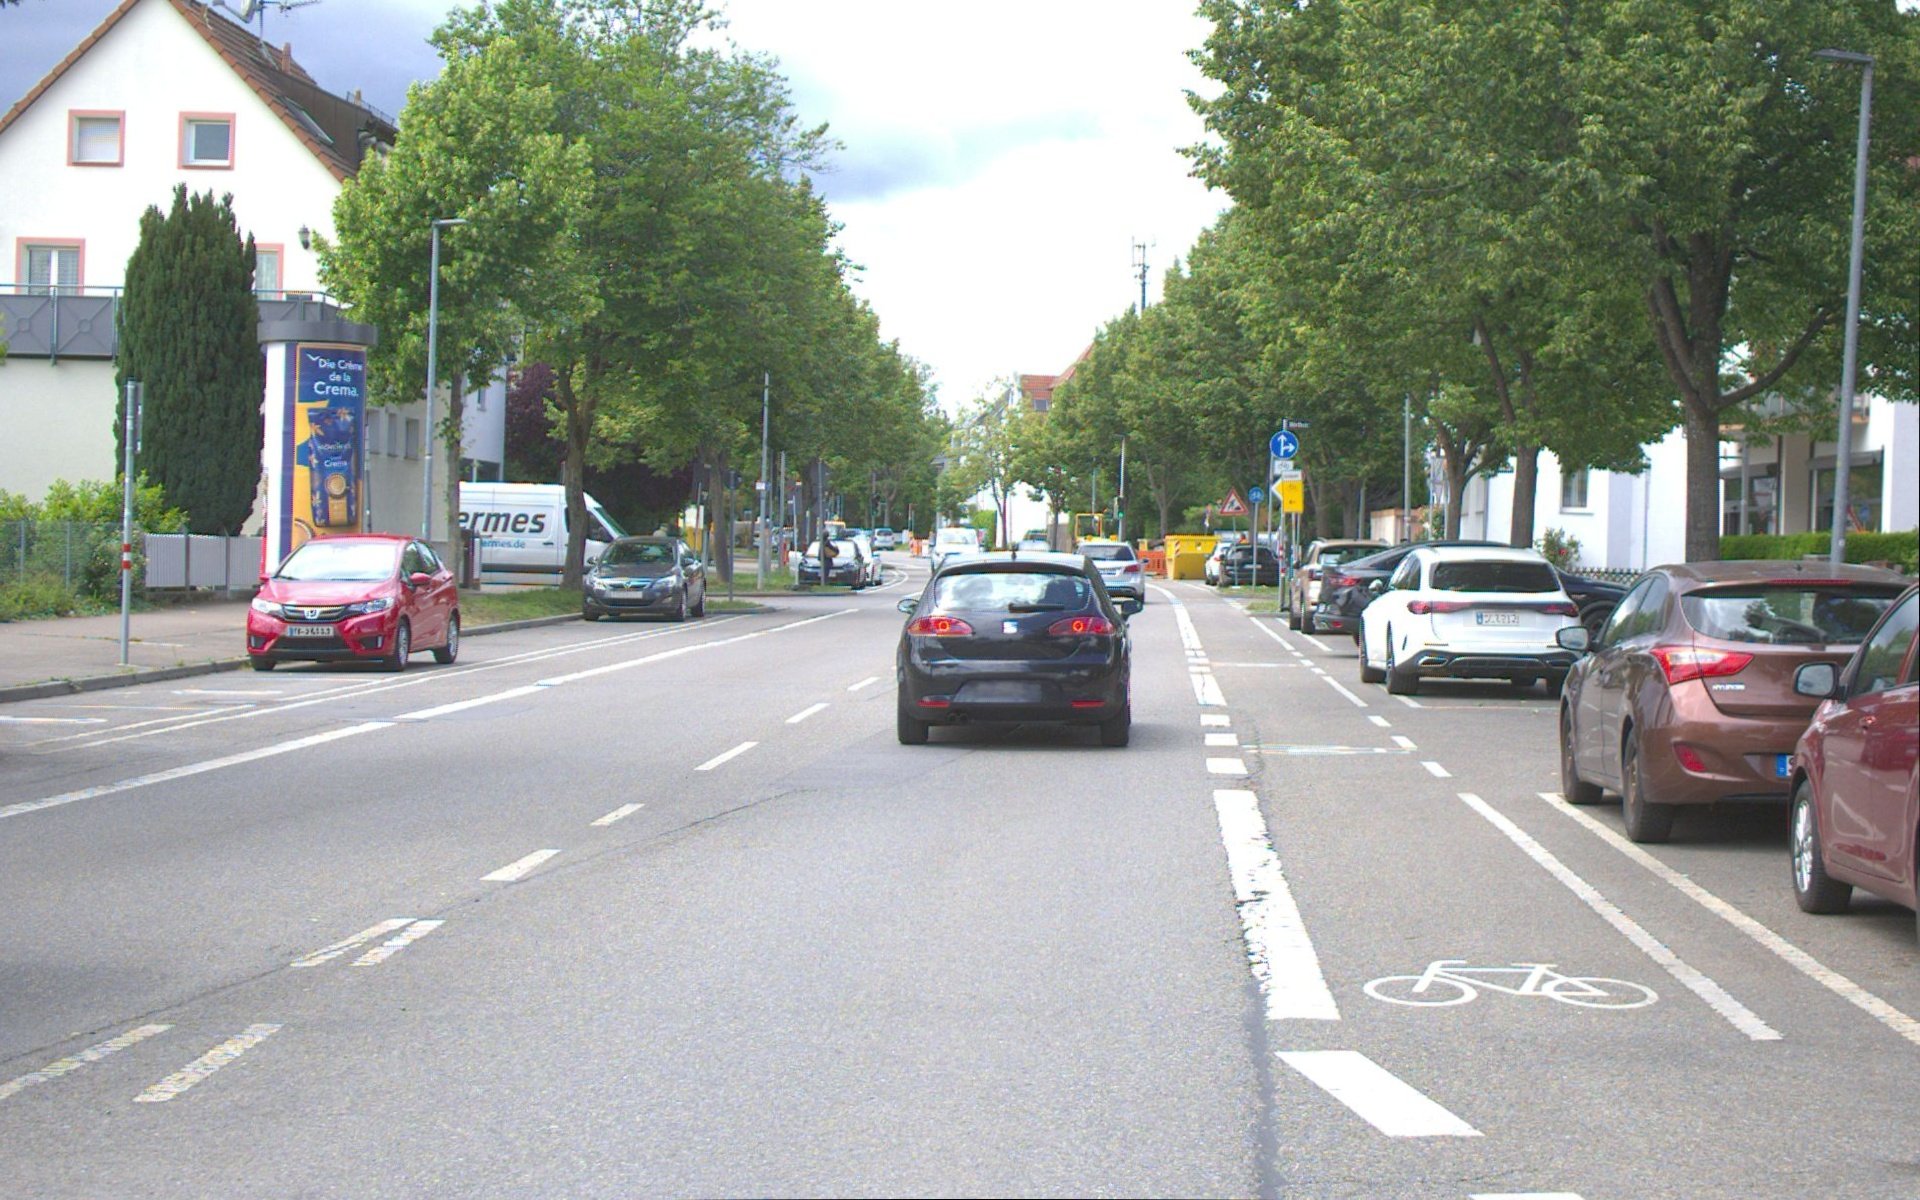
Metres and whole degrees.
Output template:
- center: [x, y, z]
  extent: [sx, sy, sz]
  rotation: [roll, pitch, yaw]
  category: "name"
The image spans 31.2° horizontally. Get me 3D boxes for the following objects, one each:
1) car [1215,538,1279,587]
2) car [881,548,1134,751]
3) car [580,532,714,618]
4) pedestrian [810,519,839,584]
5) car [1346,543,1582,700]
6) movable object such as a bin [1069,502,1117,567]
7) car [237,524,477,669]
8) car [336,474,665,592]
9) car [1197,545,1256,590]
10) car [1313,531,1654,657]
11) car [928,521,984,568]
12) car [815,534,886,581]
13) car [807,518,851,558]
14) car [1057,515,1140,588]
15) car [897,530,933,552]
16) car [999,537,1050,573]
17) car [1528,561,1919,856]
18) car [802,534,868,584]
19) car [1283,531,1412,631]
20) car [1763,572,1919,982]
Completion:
- center: [8.865, -1.184, 106.474]
  extent: [1.705, 1.449, 4.616]
  rotation: [1, 1, 2]
  category: "car"
- center: [0.362, 0.326, 26.673]
  extent: [1.819, 1.433, 3.740]
  rotation: [0, 1, 1]
  category: "car"
- center: [-5.568, -0.477, 61.679]
  extent: [1.731, 1.464, 4.301]
  rotation: [0, 1, 4]
  category: "car"
- center: [-3.604, -1.297, 91.257]
  extent: [0.542, 1.675, 0.750]
  rotation: [3, 2, 11]
  category: "pedestrian"
- center: [5.119, 0.166, 35.456]
  extent: [1.805, 1.470, 4.812]
  rotation: [1, 1, 1]
  category: "car"
- center: [5.363, -2.653, 138.720]
  extent: [1.768, 2.565, 3.740]
  rotation: [1, 1, 1]
  category: "movable object such as a bin"
- center: [-6.817, -0.079, 39.250]
  extent: [1.685, 1.536, 4.131]
  rotation: [1, 1, 5]
  category: "car"
- center: [-10.566, -1.549, 79.491]
  extent: [7.288, 2.585, 2.220]
  rotation: [1, 1, 0]
  category: "car"
- center: [8.994, -1.121, 116.264]
  extent: [1.672, 1.457, 4.000]
  rotation: [1, 1, 0]
  category: "car"
- center: [6.909, -0.102, 45.604]
  extent: [4.216, 1.632, 1.693]
  rotation: [0, 1, -2]
  category: "car"
- center: [-0.125, -2.227, 136.839]
  extent: [1.966, 1.824, 4.819]
  rotation: [1, 1, 3]
  category: "car"
- center: [-3.359, -1.328, 106.070]
  extent: [1.714, 1.401, 4.299]
  rotation: [1, 1, 4]
  category: "car"
- center: [-7.189, -3.411, 188.261]
  extent: [2.092, 2.167, 5.046]
  rotation: [1, 1, -5]
  category: "car"
- center: [3.271, -1.155, 81.579]
  extent: [1.906, 1.680, 3.740]
  rotation: [0, 1, 2]
  category: "car"
- center: [-2.880, -3.794, 220.664]
  extent: [1.809, 1.410, 3.694]
  rotation: [1, 1, -9]
  category: "car"
- center: [2.495, -1.773, 134.532]
  extent: [1.810, 1.370, 3.693]
  rotation: [1, 1, -1]
  category: "car"
- center: [4.275, 0.514, 19.062]
  extent: [1.653, 1.411, 4.177]
  rotation: [0, 1, 1]
  category: "car"
- center: [-3.608, -1.195, 99.431]
  extent: [1.643, 1.415, 4.020]
  rotation: [0, 1, 2]
  category: "car"
- center: [6.414, -0.341, 57.266]
  extent: [1.722, 1.575, 4.061]
  rotation: [1, 1, 1]
  category: "car"
- center: [4.245, 0.635, 13.256]
  extent: [1.565, 1.450, 3.668]
  rotation: [1, 0, 3]
  category: "car"
